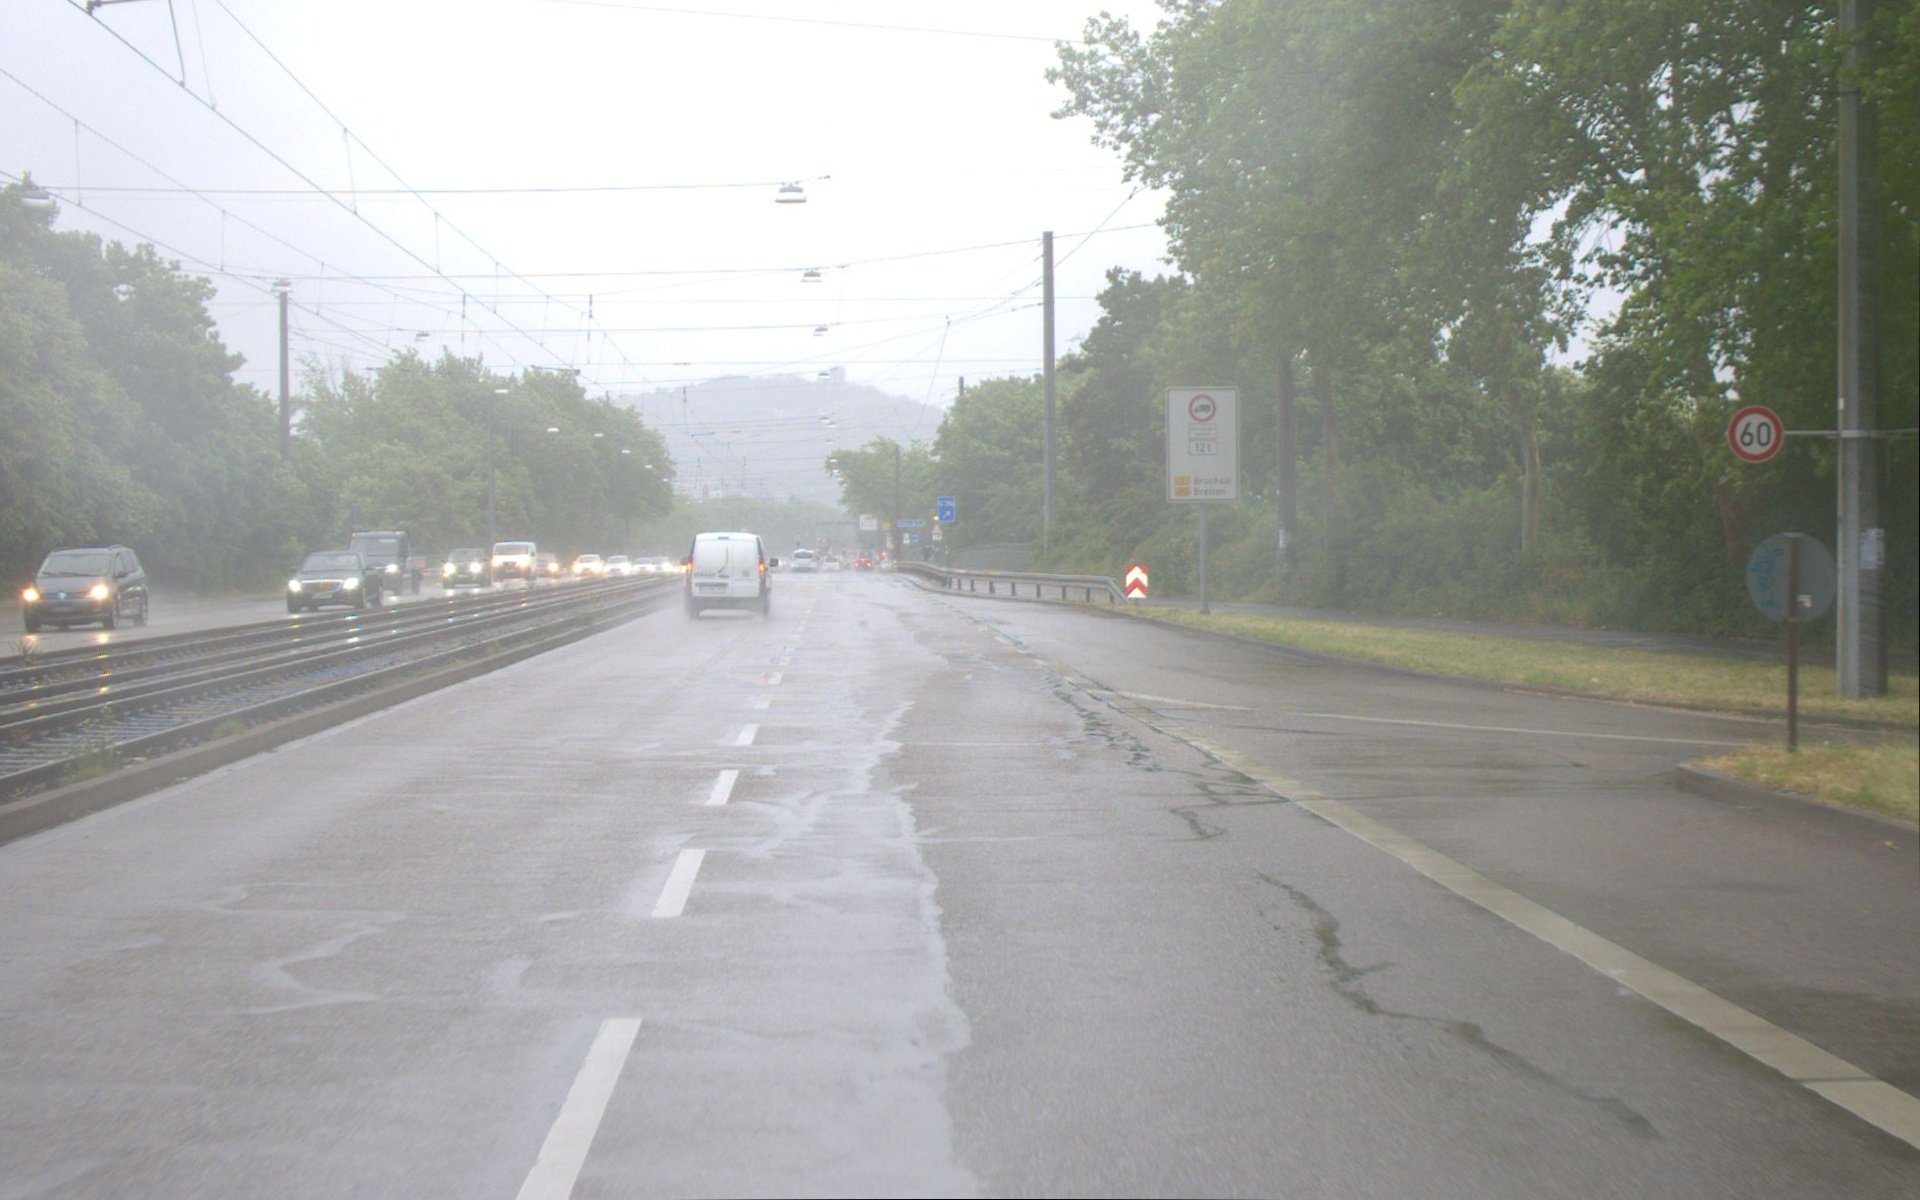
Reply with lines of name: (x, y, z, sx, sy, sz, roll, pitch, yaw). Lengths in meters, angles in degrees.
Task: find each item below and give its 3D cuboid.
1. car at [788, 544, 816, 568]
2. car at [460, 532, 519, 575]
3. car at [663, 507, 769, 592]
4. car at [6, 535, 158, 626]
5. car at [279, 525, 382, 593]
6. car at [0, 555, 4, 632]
car: (-10.348, -2.882, 225.201, 1.743, 1.503, 3.700, 1, 2, -2)
car: (-19.902, -1.967, 145.605, 1.841, 1.711, 4.163, 1, 2, 1)
car: (-5.126, -1.094, 72.625, 1.989, 1.678, 3.740, 1, 2, -1)
car: (-18.364, -0.448, 72.141, 1.819, 1.700, 6.106, 1, 2, -2)
car: (-15.986, -1.063, 87.544, 1.776, 1.579, 5.682, 1, 2, -2)
car: (-21.941, -0.077, 73.423, 1.819, 1.700, 5.021, 1, 2, -2)
